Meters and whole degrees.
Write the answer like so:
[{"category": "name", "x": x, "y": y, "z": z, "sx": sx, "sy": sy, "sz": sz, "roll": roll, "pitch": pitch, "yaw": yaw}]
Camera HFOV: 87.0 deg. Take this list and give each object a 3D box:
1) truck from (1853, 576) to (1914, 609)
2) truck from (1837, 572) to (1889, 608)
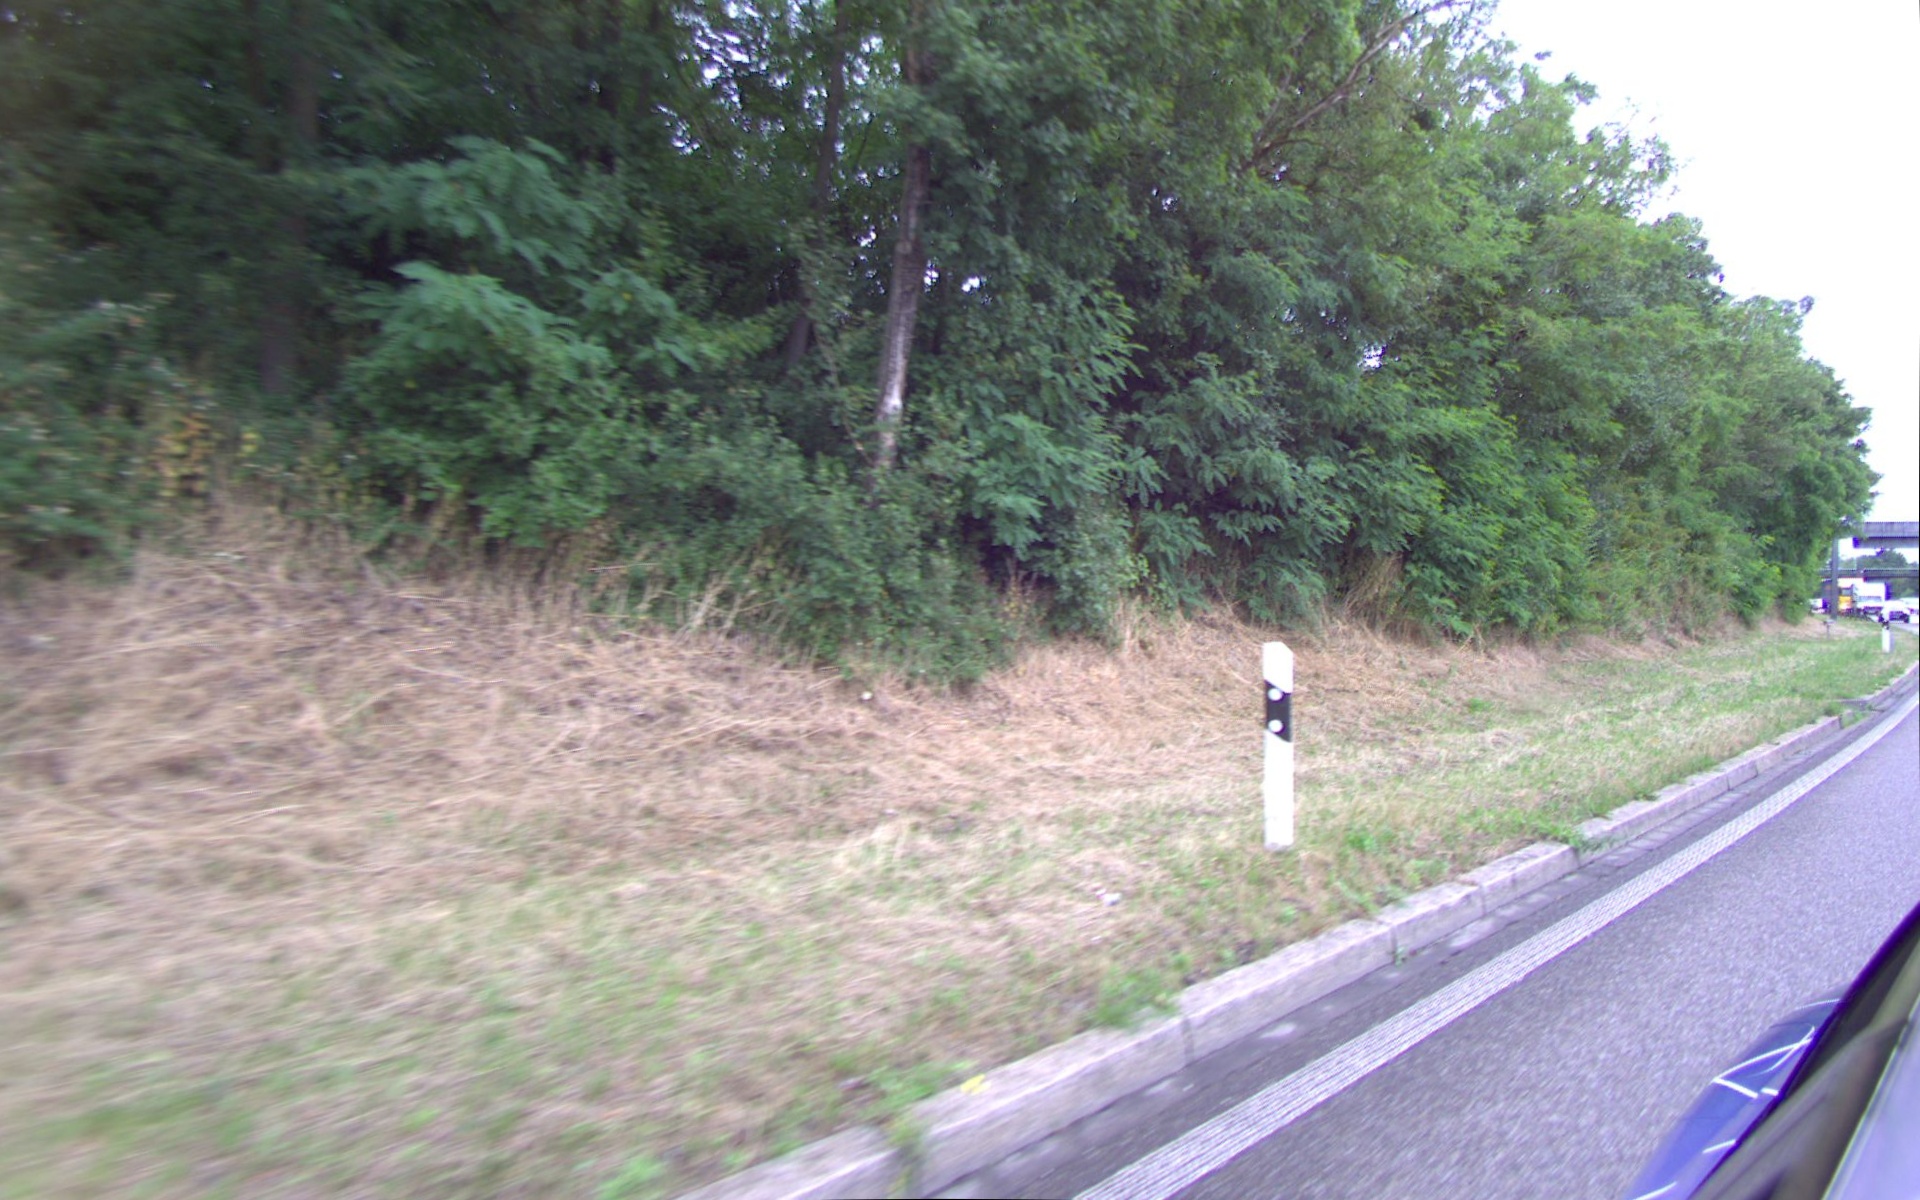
[{"category": "truck", "x": 89.755, "y": -0.724, "z": 98.525, "sx": 3.345, "sy": 3.156, "sz": 7.151, "roll": -1, "pitch": 0, "yaw": 34}, {"category": "truck", "x": 107.772, "y": -1.176, "z": 120.905, "sx": 3.345, "sy": 4.116, "sz": 10.058, "roll": -1, "pitch": 0, "yaw": 35}]
